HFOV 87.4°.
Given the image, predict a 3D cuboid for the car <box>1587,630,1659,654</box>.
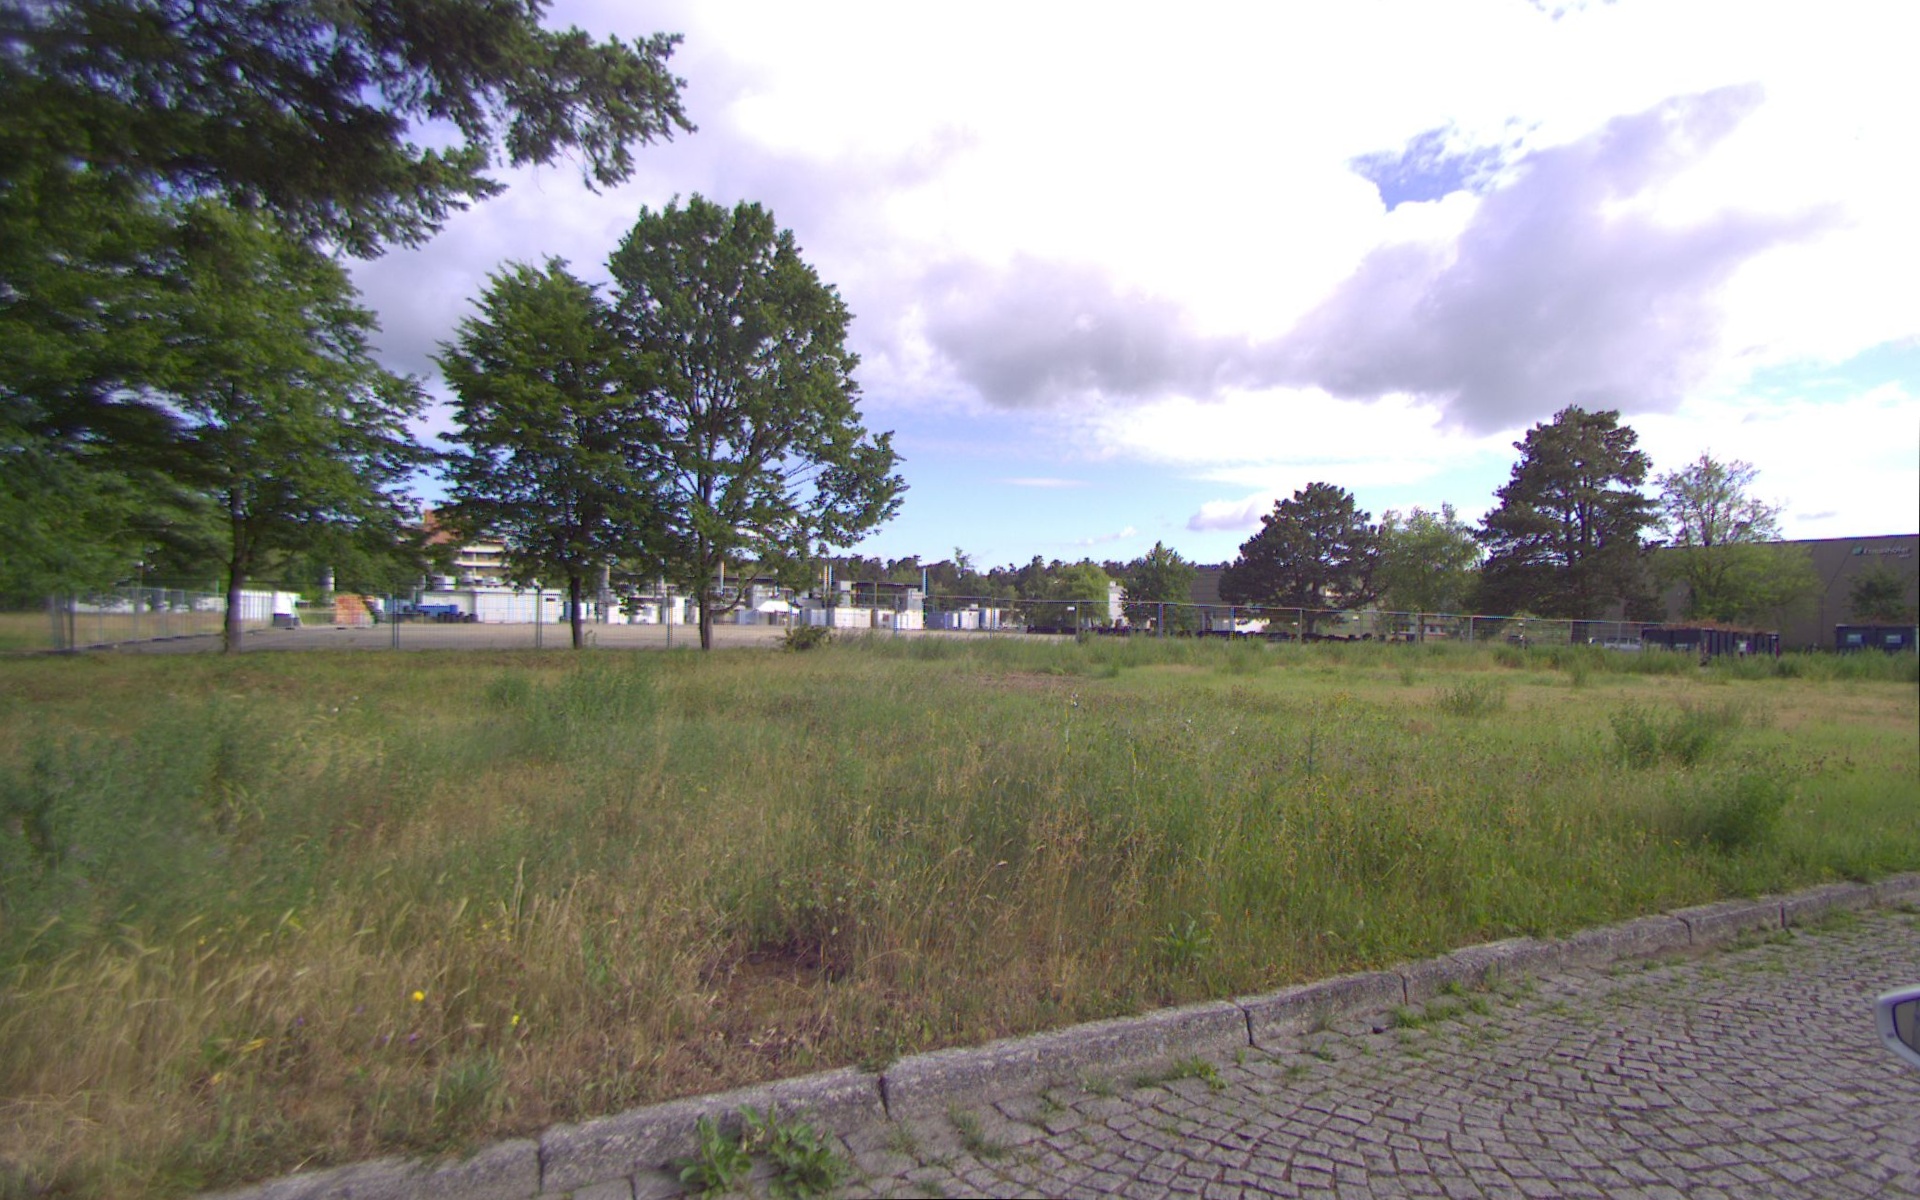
[{"bbox_3d":[47.714,2.986,72.372,1.785,1.574,3.974,1,-1,-26],"label":"car"}]
